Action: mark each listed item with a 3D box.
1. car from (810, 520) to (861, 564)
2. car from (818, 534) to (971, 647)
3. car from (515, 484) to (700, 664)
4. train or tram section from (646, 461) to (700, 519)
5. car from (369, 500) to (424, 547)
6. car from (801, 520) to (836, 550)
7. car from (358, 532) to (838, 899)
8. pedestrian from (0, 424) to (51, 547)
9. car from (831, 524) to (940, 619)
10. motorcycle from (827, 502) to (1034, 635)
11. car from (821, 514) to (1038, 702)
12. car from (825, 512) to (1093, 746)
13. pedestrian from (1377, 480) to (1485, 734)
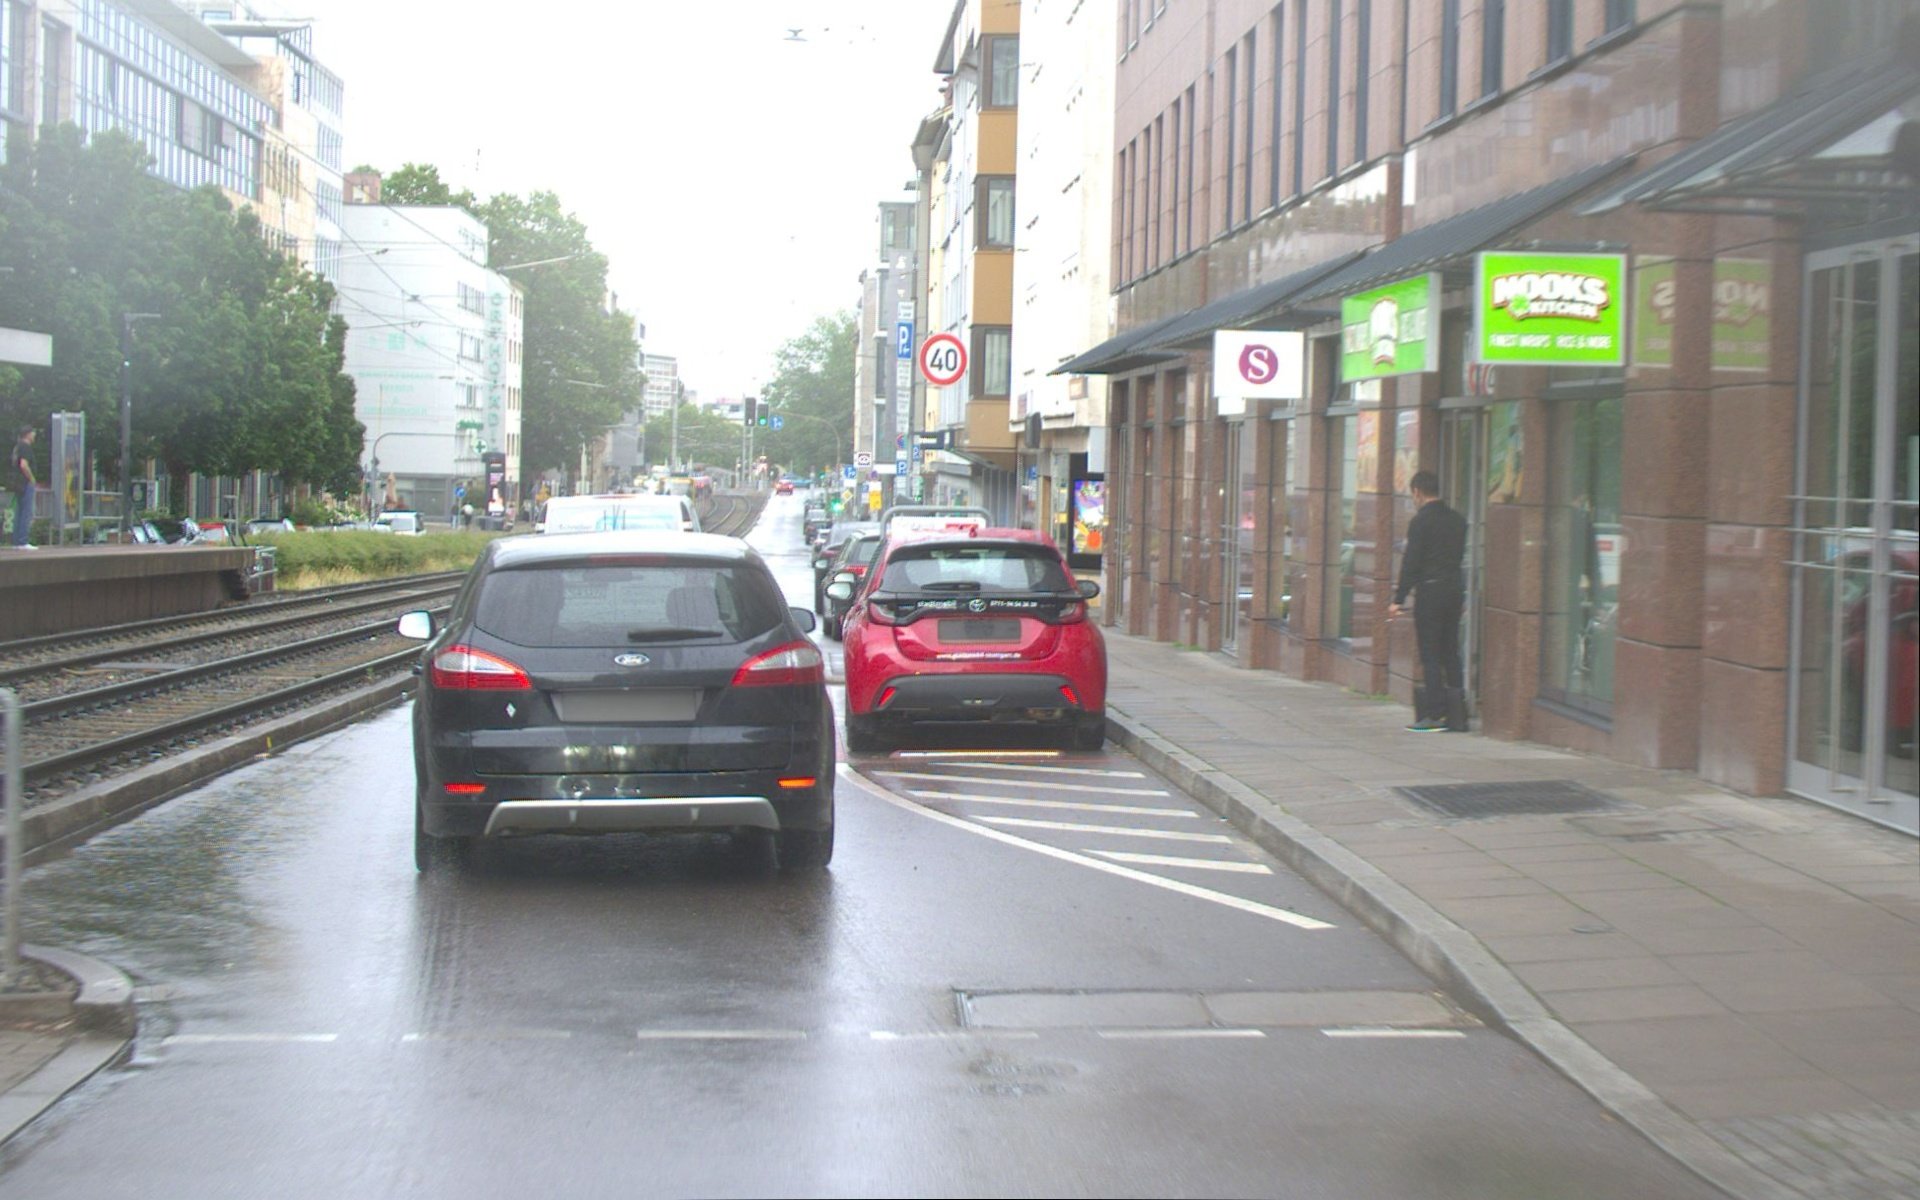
[{"bbox_3d":[-4.780,-2.233,132.780,1.906,1.628,4.574,1,0,-2],"label":"car"},{"bbox_3d":[-0.942,-0.169,46.959,1.773,1.463,4.610,0,1,-5],"label":"car"},{"bbox_3d":[-3.903,-0.288,38.161,1.906,1.858,4.575,1,0,-6],"label":"car"},{"bbox_3d":[-19.580,-7.416,234.030,3.512,3.764,11.334,0,1,-5],"label":"train or tram section"},{"bbox_3d":[-23.174,-3.134,141.460,1.906,1.858,4.575,1,0,-6],"label":"car"},{"bbox_3d":[-8.023,-3.680,194.767,1.906,1.628,4.574,1,0,-2],"label":"car"},{"bbox_3d":[-1.516,0.450,15.513,1.906,1.457,3.445,1,0,-2],"label":"car"},{"bbox_3d":[-13.857,-1.692,50.848,0.655,1.795,0.850,0,1,-5],"label":"pedestrian"},{"bbox_3d":[-1.382,-0.539,61.915,1.807,1.626,5.170,0,1,-3],"label":"car"},{"bbox_3d":[-0.318,-0.338,36.923,2.085,1.402,0.798,0,0,16],"label":"motorcycle"},{"bbox_3d":[-0.317,0.045,29.422,1.698,1.457,3.867,-2,1,-2],"label":"car"},{"bbox_3d":[-0.047,0.168,24.188,1.698,1.474,3.867,-1,1,-1],"label":"car"},{"bbox_3d":[3.106,0.043,22.706,0.601,1.654,0.625,0,0,-2],"label":"pedestrian"}]
